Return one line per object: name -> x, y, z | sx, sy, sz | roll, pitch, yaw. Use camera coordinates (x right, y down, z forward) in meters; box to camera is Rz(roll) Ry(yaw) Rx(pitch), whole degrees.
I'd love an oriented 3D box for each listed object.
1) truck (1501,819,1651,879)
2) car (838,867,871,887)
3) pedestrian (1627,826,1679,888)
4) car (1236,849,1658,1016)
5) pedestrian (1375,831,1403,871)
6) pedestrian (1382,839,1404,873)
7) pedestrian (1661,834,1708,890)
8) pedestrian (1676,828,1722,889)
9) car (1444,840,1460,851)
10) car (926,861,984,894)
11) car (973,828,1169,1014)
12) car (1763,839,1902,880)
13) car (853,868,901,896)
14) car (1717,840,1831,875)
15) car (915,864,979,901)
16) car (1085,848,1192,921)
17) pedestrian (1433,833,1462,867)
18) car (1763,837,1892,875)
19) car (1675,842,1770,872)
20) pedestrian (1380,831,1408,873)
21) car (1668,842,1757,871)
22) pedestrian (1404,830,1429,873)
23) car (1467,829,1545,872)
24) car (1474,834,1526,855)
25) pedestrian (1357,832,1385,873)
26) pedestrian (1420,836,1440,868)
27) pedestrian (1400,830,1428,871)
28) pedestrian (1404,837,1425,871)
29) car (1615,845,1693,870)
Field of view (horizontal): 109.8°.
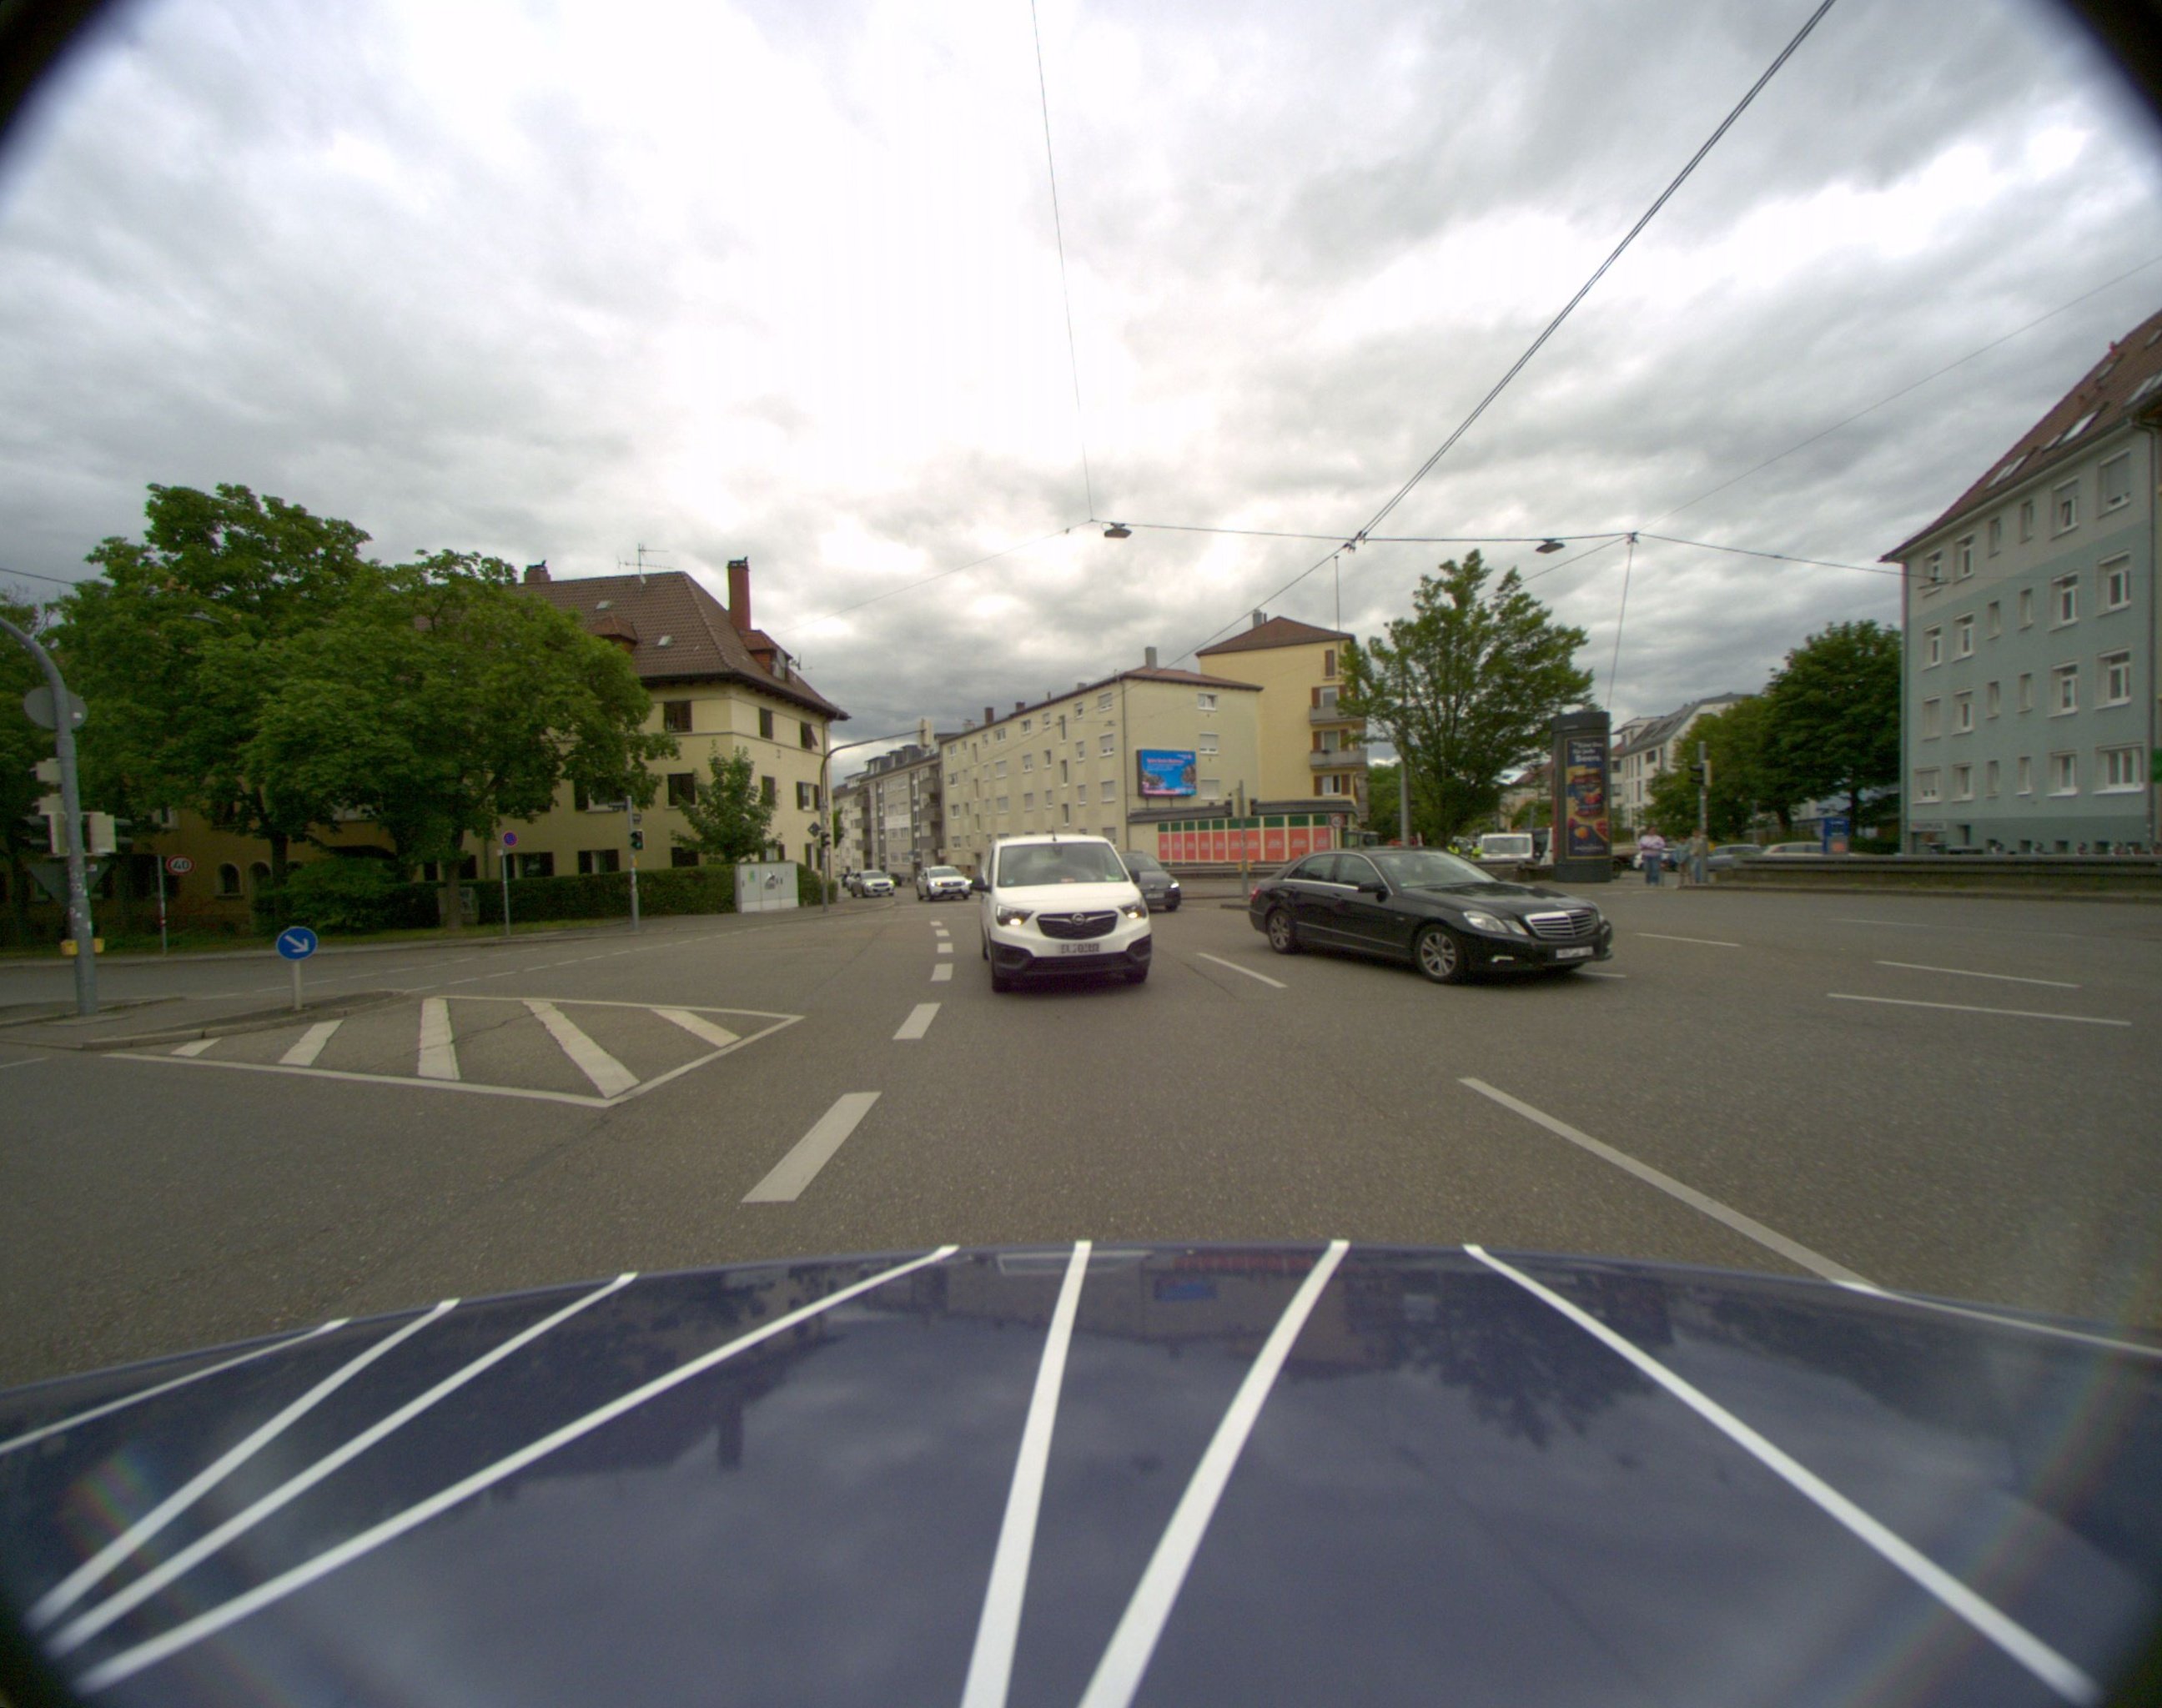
truck -> 24.067, -0.216, 36.977 | 6.462, 2.707, 2.768 | 0, -1, -20
car -> -18.573, 1.905, 62.239 | 1.957, 1.541, 4.028 | -2, -1, -26
pedestrian -> 14.875, 0.073, 19.760 | 0.706, 1.574, 0.801 | -3, 1, -20
car -> 3.949, 0.701, 9.310 | 1.843, 1.411, 4.731 | -3, 1, -19
pedestrian -> 12.642, -0.124, 31.163 | 0.773, 1.610, 0.649 | -3, 2, -23
pedestrian -> 14.893, 0.092, 36.259 | 0.866, 1.610, 0.920 | -2, 2, 27
pedestrian -> 15.075, 0.197, 18.992 | 0.664, 1.333, 0.628 | -3, 1, -19
pedestrian -> 14.940, 0.109, 18.374 | 0.605, 1.424, 0.600 | -3, 2, -19
car -> 60.106, -1.355, 122.965 | 1.888, 1.589, 3.940 | -2, 1, 32
car -> -6.539, 1.230, 39.204 | 2.042, 1.541, 4.029 | -2, -1, -23
car -> -0.417, 0.703, 10.093 | 1.859, 1.798, 4.725 | -3, 0, -9
car -> 32.703, 0.232, 33.176 | 1.896, 1.589, 3.924 | -3, 1, -31
car -> -12.493, 1.711, 46.414 | 1.957, 1.541, 4.027 | -1, -1, -28
car -> 35.349, 0.185, 38.852 | 1.896, 1.589, 3.924 | -3, 1, -31
car -> -6.019, 1.251, 33.872 | 1.911, 1.470, 3.881 | -2, -1, -23
car -> 1.421, 0.717, 20.786 | 1.859, 1.605, 4.724 | -4, 2, -8
pedestrian -> 21.747, -0.234, 45.093 | 0.929, 1.947, 1.266 | -3, 1, -10
car -> 34.804, 0.101, 35.533 | 1.896, 1.589, 3.924 | -3, 1, -31
car -> 37.445, 0.180, 44.420 | 1.896, 1.589, 3.923 | -3, 1, -38
pedestrian -> 12.238, -0.083, 29.675 | 0.651, 1.610, 0.770 | -4, 2, -44
car -> 38.950, 0.169, 46.936 | 1.896, 1.589, 3.923 | -3, 1, -38
pedestrian -> 12.732, -0.092, 28.853 | 0.606, 1.610, 0.553 | -3, 2, -21
car -> 17.641, -0.169, 31.415 | 2.206, 1.562, 4.485 | -2, 1, 37
car -> 39.151, -0.882, 71.012 | 3.933, 1.695, 1.891 | -3, 1, -9
pedestrian -> 11.615, -0.067, 30.424 | 0.773, 1.610, 0.648 | -3, 2, -28
pedestrian -> 18.458, -0.128, 40.162 | 0.866, 1.610, 1.214 | -2, 1, 27
pedestrian -> 13.309, -0.142, 30.369 | 0.772, 1.610, 0.650 | -3, 1, -3
pedestrian -> 16.620, -0.011, 37.881 | 0.866, 1.610, 0.920 | -2, 2, 27
car -> 39.854, 0.249, 52.895 | 1.896, 1.589, 3.923 | -3, 1, -38
